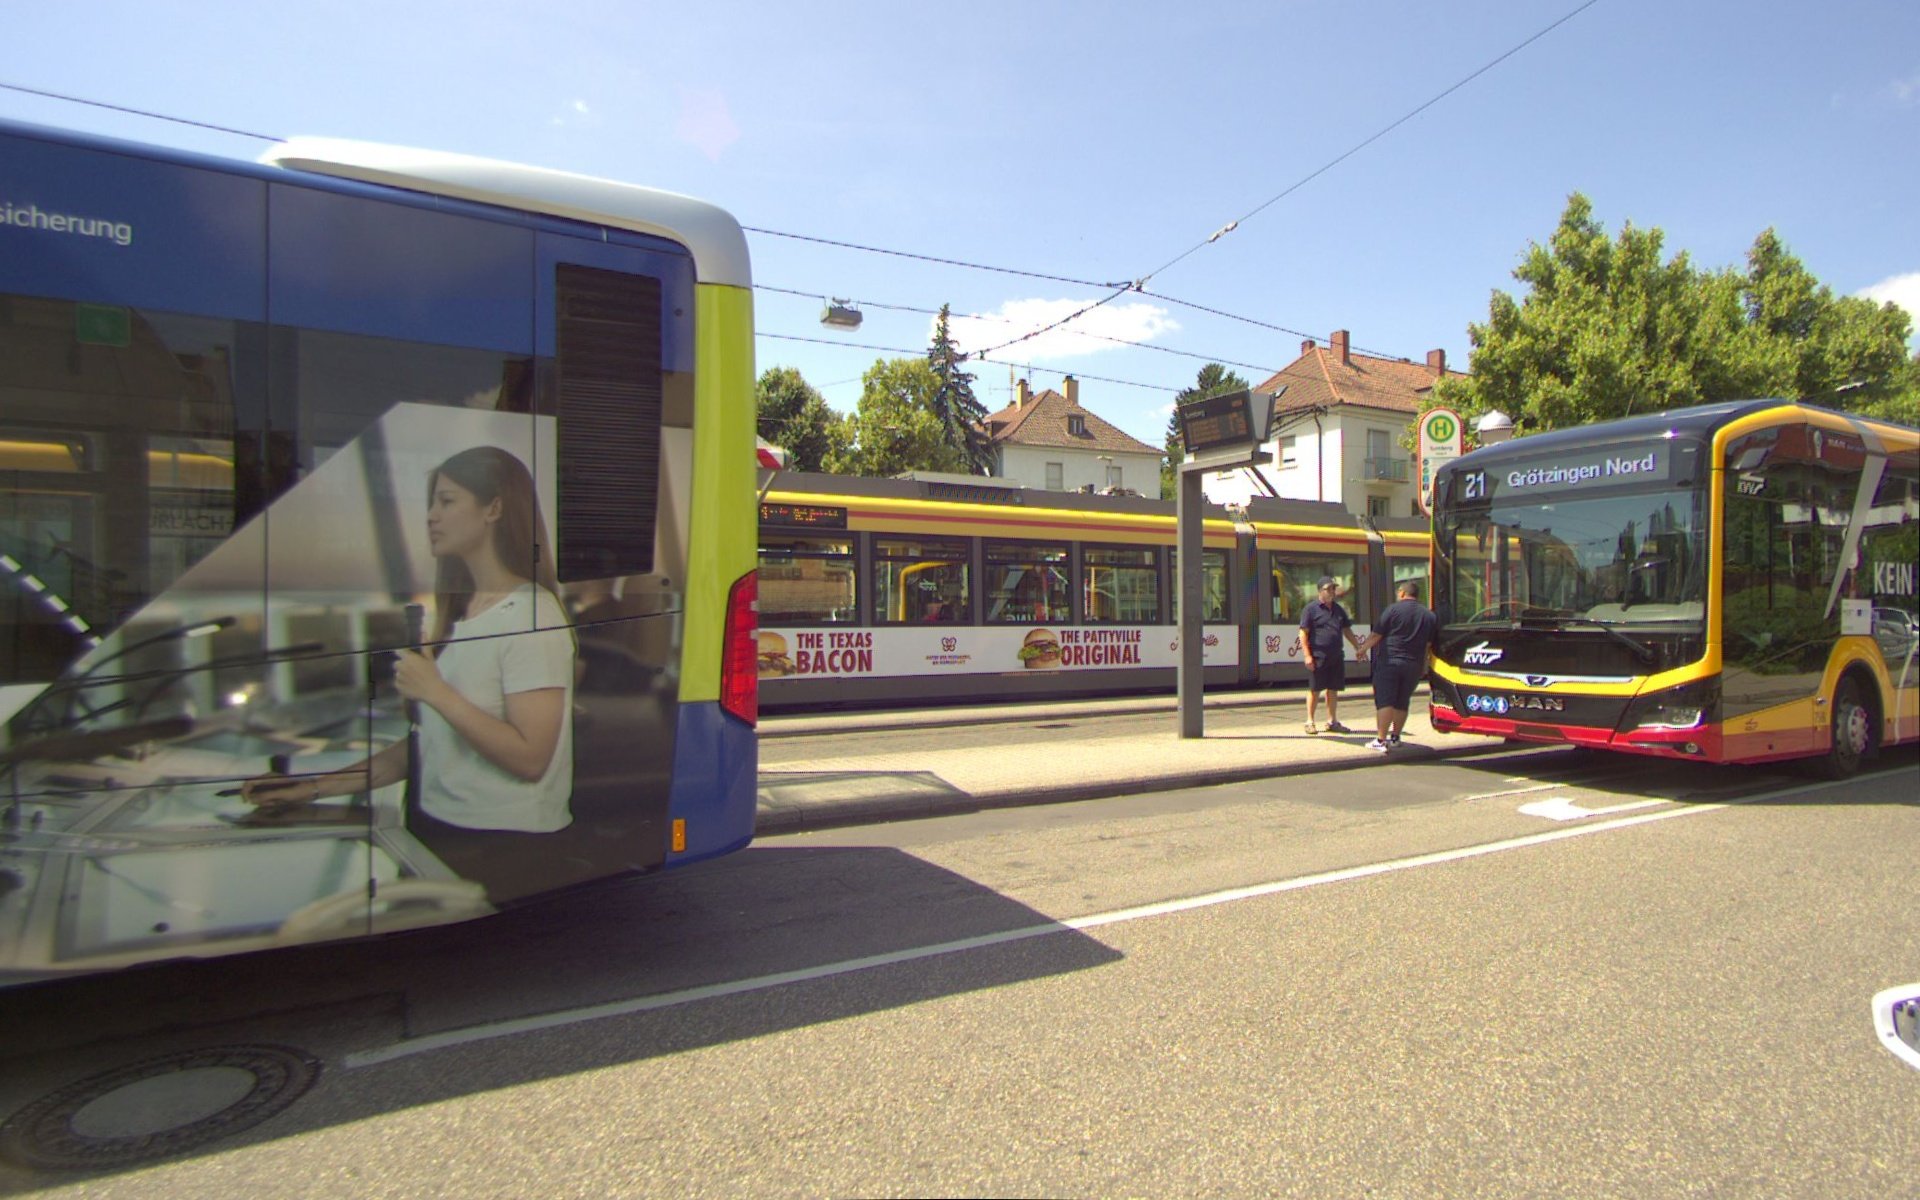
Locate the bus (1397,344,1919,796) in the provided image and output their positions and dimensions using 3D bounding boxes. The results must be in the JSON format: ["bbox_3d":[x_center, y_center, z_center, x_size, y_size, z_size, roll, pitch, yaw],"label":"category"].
[{"bbox_3d":[10.272,-0.107,11.549,12.049,3.291,2.885,2,1,-29],"label":"bus"}]

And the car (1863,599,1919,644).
[{"bbox_3d":[31.223,0.736,32.248,3.240,1.391,1.461,3,1,41],"label":"car"}]

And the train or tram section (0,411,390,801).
[{"bbox_3d":[-12.221,0.001,8.806,12.505,3.542,2.949,0,1,-30],"label":"train or tram section"}]

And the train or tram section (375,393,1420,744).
[{"bbox_3d":[0.571,-0.300,16.133,17.144,3.692,2.949,0,1,-30],"label":"train or tram section"}]

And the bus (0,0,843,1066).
[{"bbox_3d":[-6.363,-0.524,2.361,11.898,3.473,2.894,2,1,-30],"label":"bus"}]

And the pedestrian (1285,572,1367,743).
[{"bbox_3d":[4.015,0.607,11.053,0.767,1.801,0.574,2,1,19],"label":"pedestrian"}]

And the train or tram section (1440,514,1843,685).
[{"bbox_3d":[18.331,-0.001,26.404,13.826,3.692,2.949,0,1,-30],"label":"train or tram section"}]

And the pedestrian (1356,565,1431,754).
[{"bbox_3d":[4.271,0.570,9.926,0.582,1.801,0.386,2,1,19],"label":"pedestrian"}]
